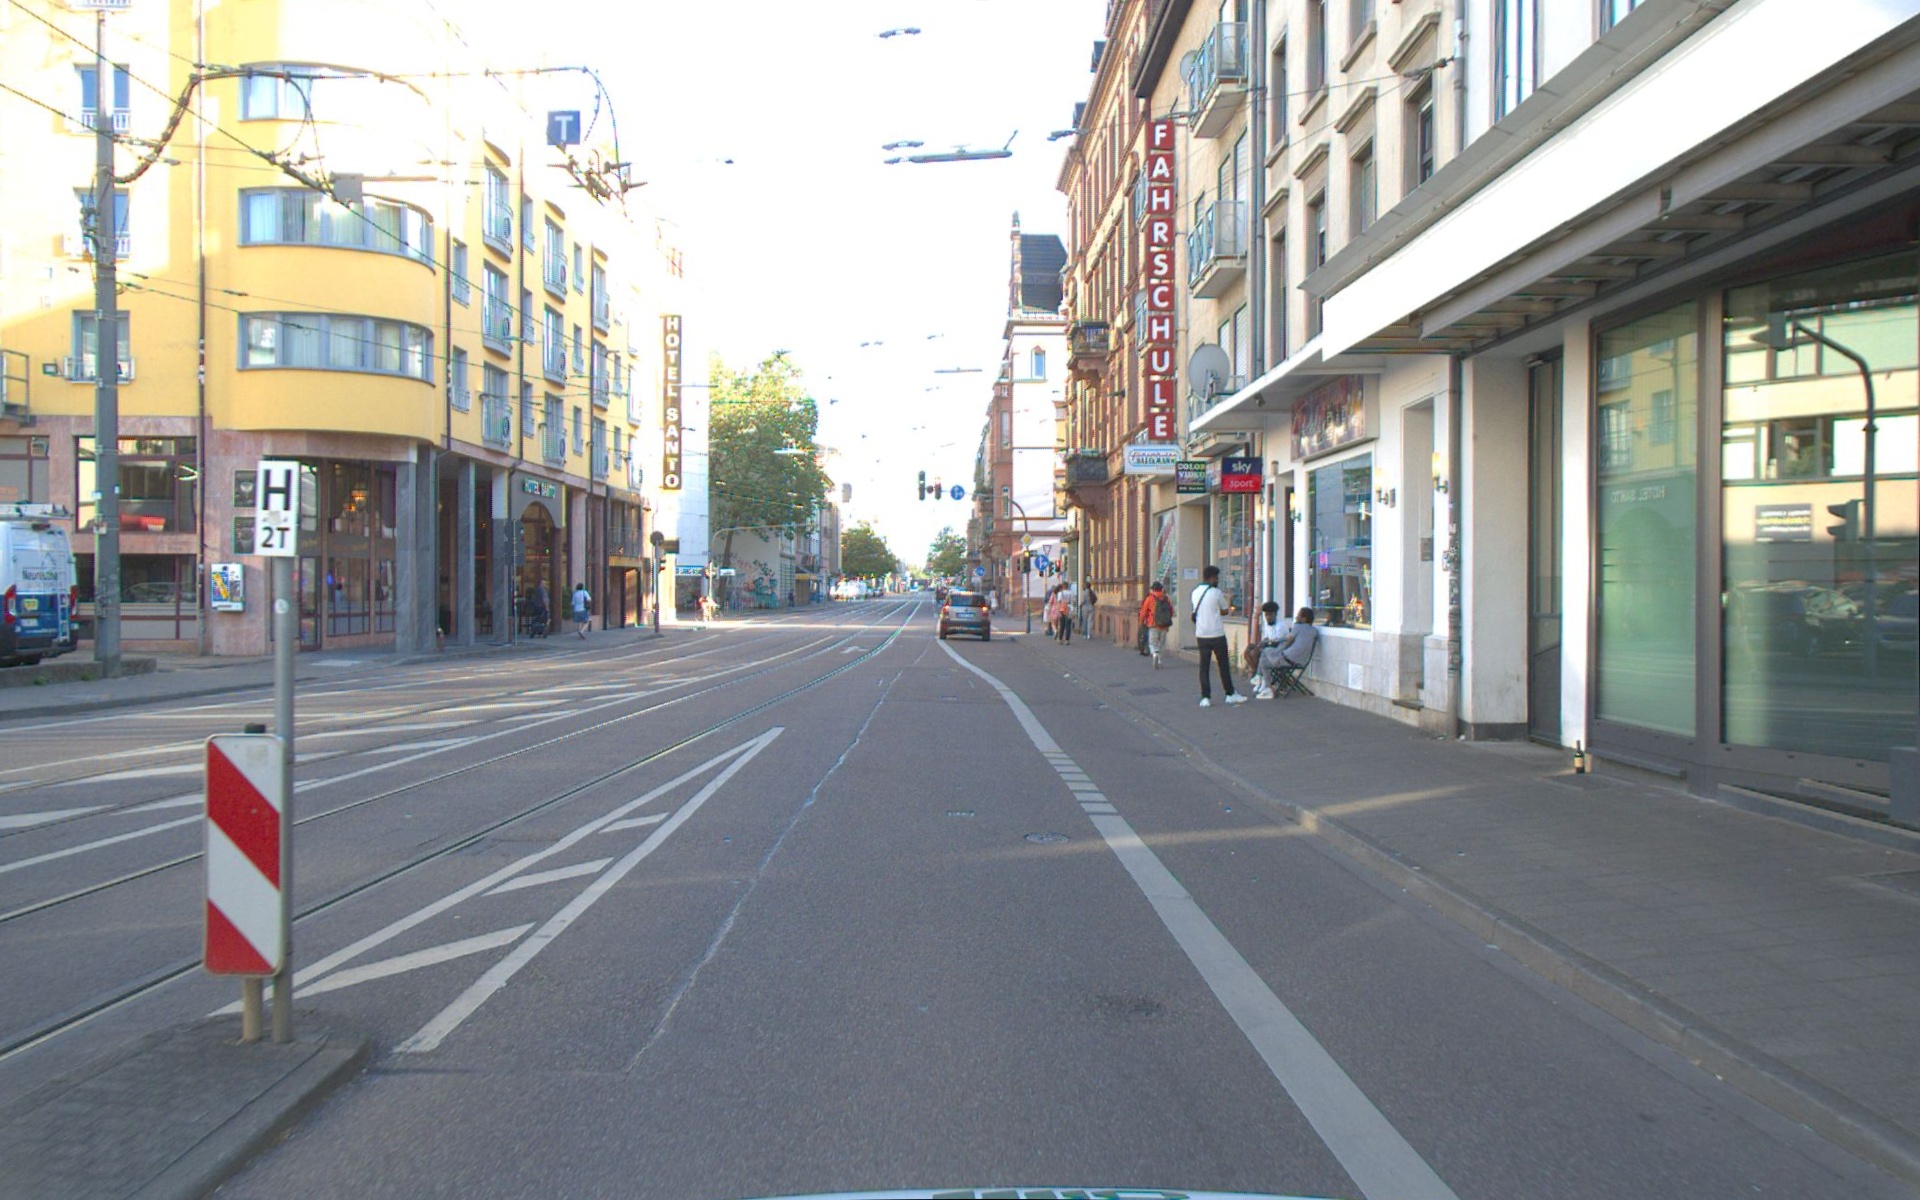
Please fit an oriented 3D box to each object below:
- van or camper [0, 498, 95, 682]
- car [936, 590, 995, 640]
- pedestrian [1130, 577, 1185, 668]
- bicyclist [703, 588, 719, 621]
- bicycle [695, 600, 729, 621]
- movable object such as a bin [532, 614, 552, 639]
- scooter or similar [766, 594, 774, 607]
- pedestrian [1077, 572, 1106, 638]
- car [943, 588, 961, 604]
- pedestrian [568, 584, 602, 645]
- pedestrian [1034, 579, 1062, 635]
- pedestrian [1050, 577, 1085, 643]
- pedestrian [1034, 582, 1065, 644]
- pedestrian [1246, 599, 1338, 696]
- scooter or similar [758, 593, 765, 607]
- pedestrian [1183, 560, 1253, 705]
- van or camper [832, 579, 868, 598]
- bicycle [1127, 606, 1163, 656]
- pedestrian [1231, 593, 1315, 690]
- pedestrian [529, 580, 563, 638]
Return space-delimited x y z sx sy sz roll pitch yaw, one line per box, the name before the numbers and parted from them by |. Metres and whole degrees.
van or camper | -17.552 -0.158 27.093 5.491 2.876 2.315 0 1 0
car | 0.163 0.495 57.916 1.953 1.646 3.999 0 0 -1
pedestrian | 3.783 0.421 31.744 0.782 1.655 0.825 -6 1 -1
bicyclist | -12.906 0.250 85.593 0.727 1.662 0.606 2 -1 -12
bicycle | -12.851 0.534 85.585 1.684 1.052 0.597 2 -1 -12
movable object such as a bin | -13.139 0.822 51.999 0.375 0.728 0.841 4 1 0
scooter or similar | -15.070 0.031 131.358 0.506 1.076 1.477 0 0 -3
pedestrian | 4.021 0.150 50.487 0.677 1.941 0.670 -4 1 -2
car | -0.851 -0.451 180.519 1.910 1.713 4.000 0 0 0
pedestrian | -12.016 0.453 52.962 0.736 1.850 1.046 4 1 -1
pedestrian | 3.034 0.236 56.945 0.789 1.831 0.761 -4 1 -1
pedestrian | 3.073 0.275 47.327 0.789 1.831 1.091 -4 1 -2
pedestrian | 2.766 0.397 51.118 0.789 1.831 0.761 -4 1 -2
pedestrian | 4.459 0.633 22.285 0.695 1.194 1.010 -6 1 -20
scooter or similar | -15.763 -0.019 131.307 0.506 1.064 1.477 0 0 -3
pedestrian | 3.447 0.424 22.100 0.690 1.843 0.680 -5 1 15
van or camper | -15.325 -1.634 230.178 4.590 2.608 1.978 1 0 -32
bicycle | 4.329 0.711 38.852 0.543 1.079 2.311 -2 0 0
pedestrian | 4.419 0.589 23.370 0.822 1.277 0.698 -6 1 -36
pedestrian | -13.194 0.280 52.730 0.782 1.801 0.749 4 1 -1
